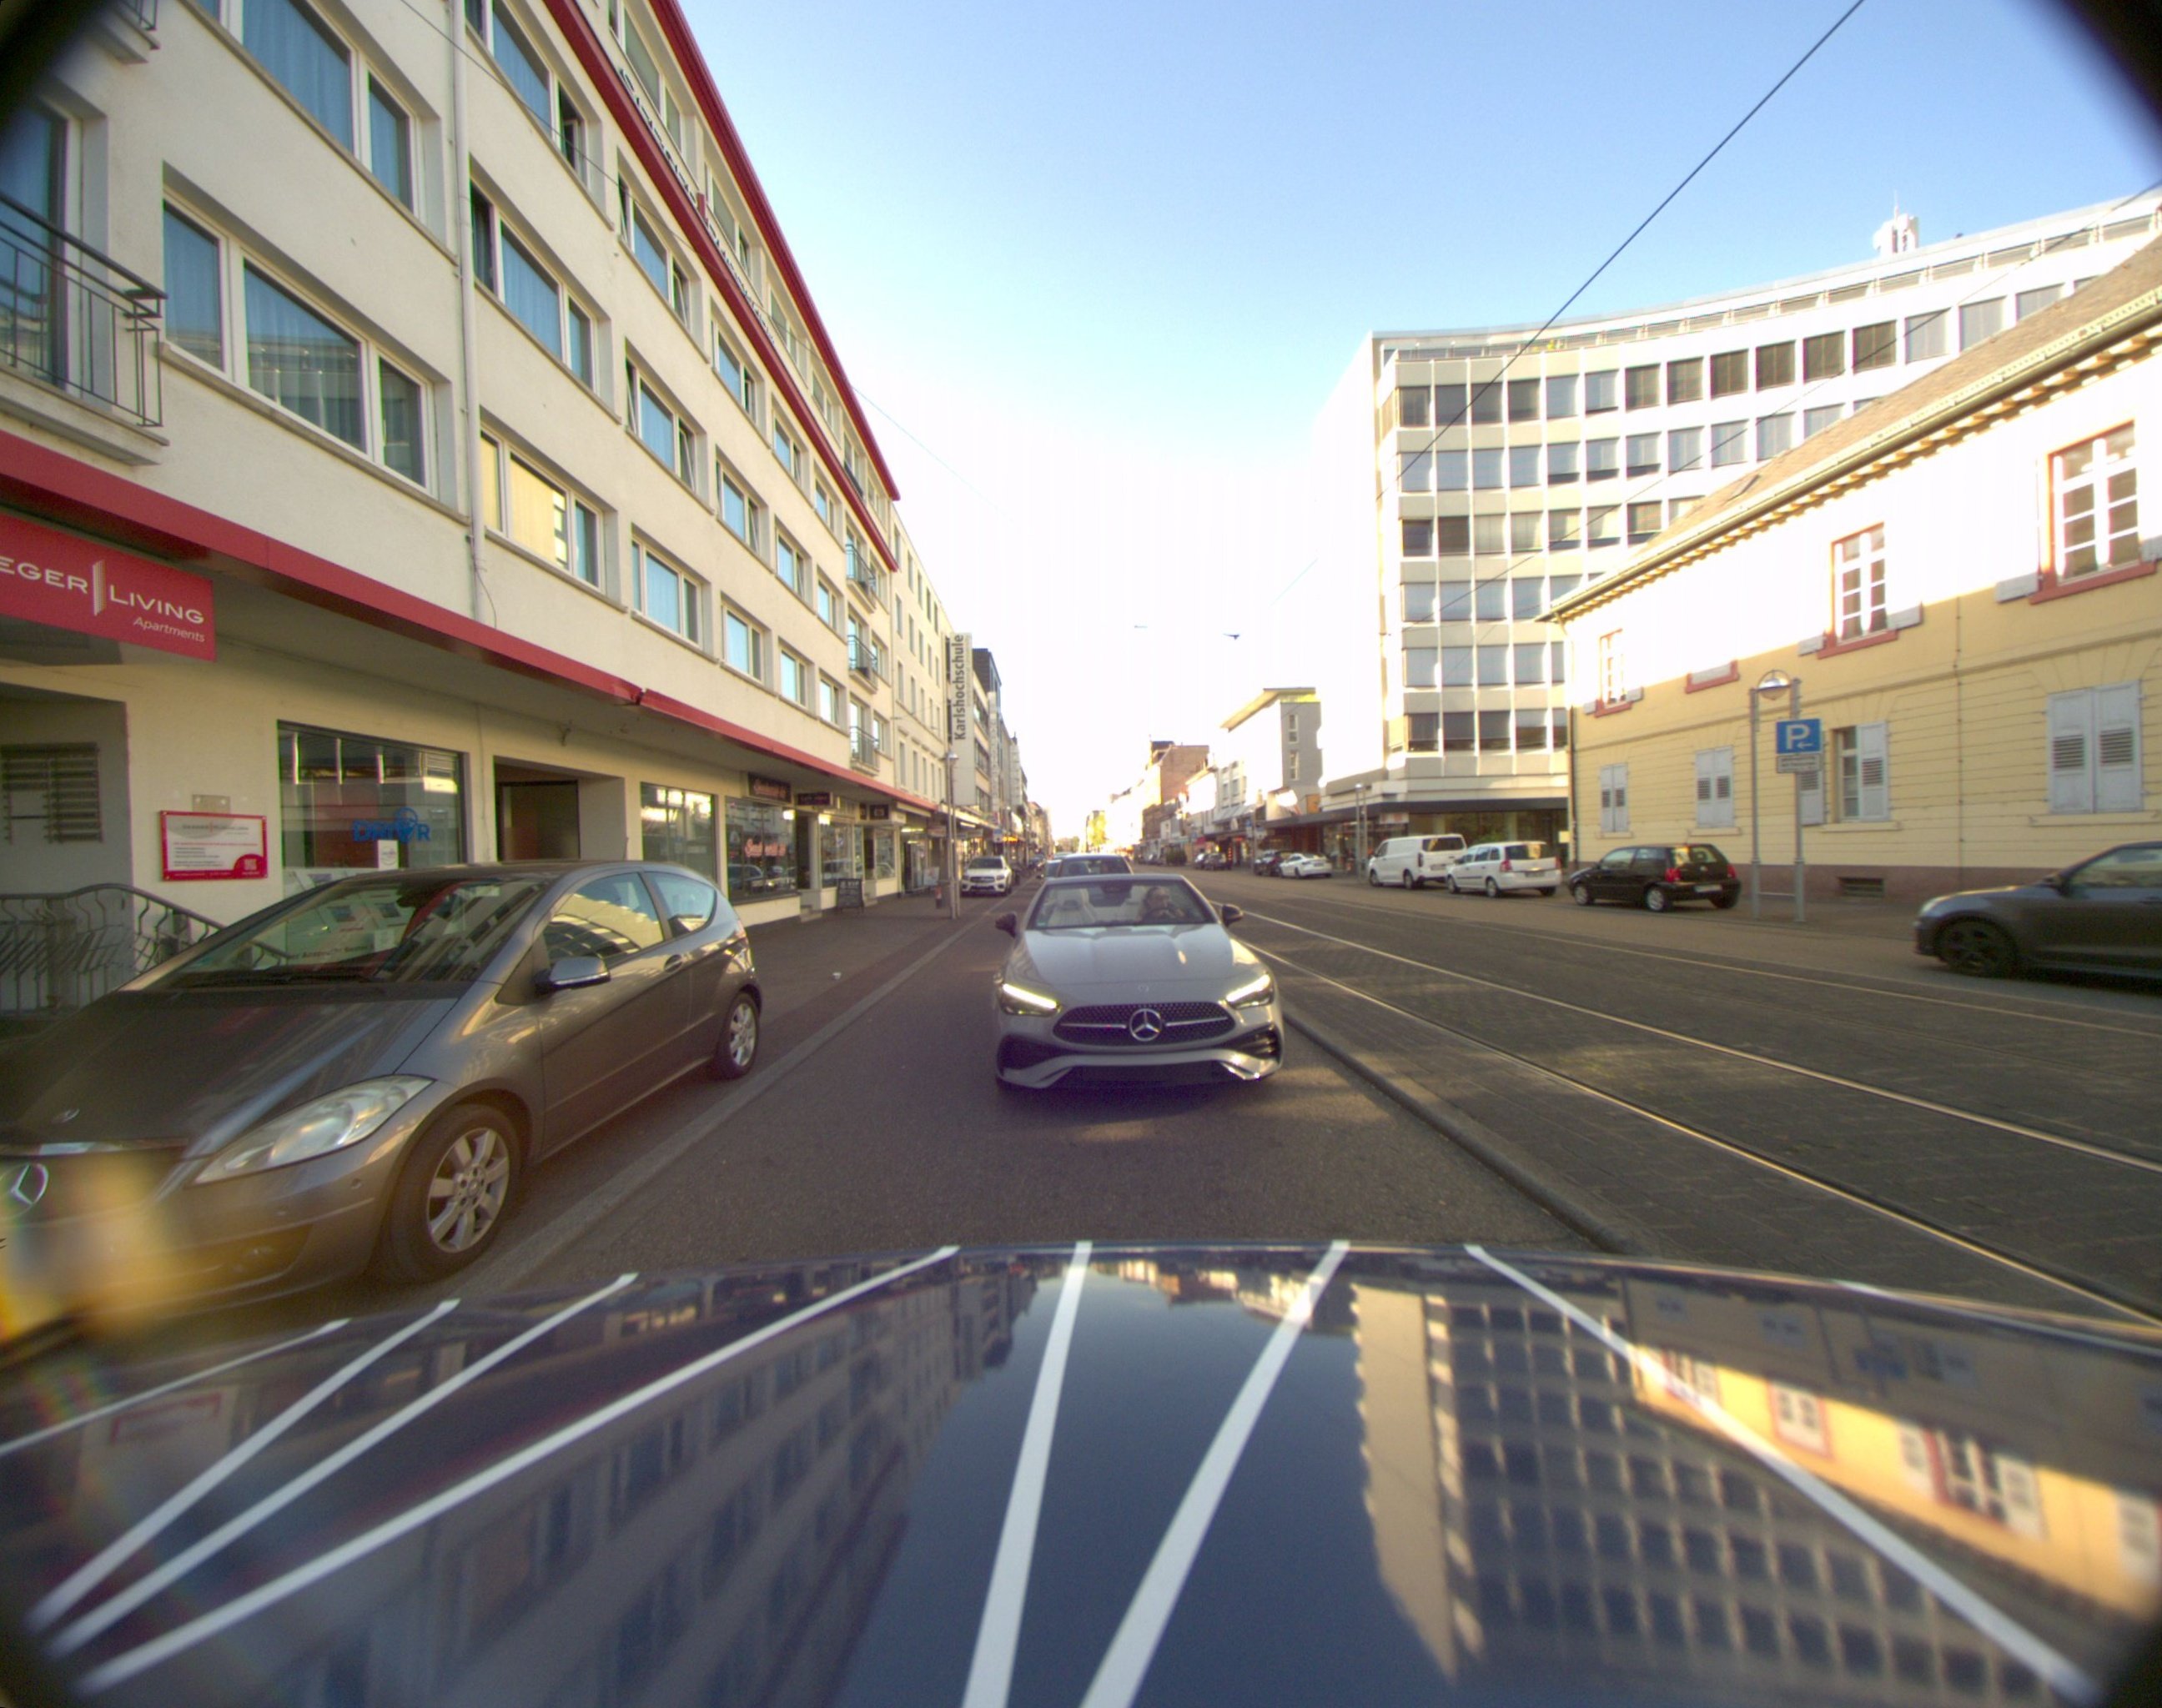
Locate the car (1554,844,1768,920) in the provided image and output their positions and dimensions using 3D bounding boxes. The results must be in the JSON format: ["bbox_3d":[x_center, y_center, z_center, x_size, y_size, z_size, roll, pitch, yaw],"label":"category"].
[{"bbox_3d":[12.931,0.536,17.296,1.781,1.431,3.960,-3,1,0],"label":"car"}]

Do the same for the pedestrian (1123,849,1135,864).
[{"bbox_3d":[5.912,0.352,93.151,1.007,1.811,1.035,-1,1,35],"label":"pedestrian"}]

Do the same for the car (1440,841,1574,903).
[{"bbox_3d":[12.808,0.482,23.164,1.781,1.611,4.175,-3,1,2],"label":"car"}]

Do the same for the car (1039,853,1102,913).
[{"bbox_3d":[-0.322,0.831,23.702,1.783,1.654,3.960,0,1,0],"label":"car"}]

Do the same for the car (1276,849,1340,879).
[{"bbox_3d":[12.495,0.504,42.103,1.931,1.444,4.291,-4,1,-5],"label":"car"}]

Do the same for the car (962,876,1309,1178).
[{"bbox_3d":[0.287,1.003,6.495,1.869,1.431,4.773,0,1,0],"label":"car"}]

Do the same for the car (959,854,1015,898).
[{"bbox_3d":[-3.808,0.842,31.418,1.783,1.654,4.162,0,1,0],"label":"car"}]

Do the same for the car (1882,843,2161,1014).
[{"bbox_3d":[10.315,0.644,6.938,1.782,1.500,3.858,-1,0,-5],"label":"car"}]

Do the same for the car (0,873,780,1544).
[{"bbox_3d":[-3.222,0.954,3.887,1.781,1.560,3.960,0,1,0],"label":"car"}]

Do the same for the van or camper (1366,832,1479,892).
[{"bbox_3d":[12.762,0.249,28.787,1.960,1.962,4.796,-3,1,-2],"label":"van or camper"}]

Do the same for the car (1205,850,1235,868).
[{"bbox_3d":[11.945,0.390,65.470,1.786,1.408,3.596,-2,1,-2],"label":"car"}]

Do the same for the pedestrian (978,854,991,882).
[{"bbox_3d":[-6.361,0.947,50.210,0.706,1.807,0.807,-2,1,-3],"label":"pedestrian"}]

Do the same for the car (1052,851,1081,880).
[{"bbox_3d":[-0.862,0.640,46.521,1.737,1.654,3.960,0,1,0],"label":"car"}]

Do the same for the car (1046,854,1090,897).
[{"bbox_3d":[-0.512,0.838,31.945,1.737,1.654,3.960,0,1,0],"label":"car"}]

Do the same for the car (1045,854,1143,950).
[{"bbox_3d":[0.224,0.854,15.463,1.737,1.654,3.960,0,1,0],"label":"car"}]

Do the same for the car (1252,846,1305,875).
[{"bbox_3d":[12.316,0.391,47.577,1.931,1.632,4.280,-4,1,-3],"label":"car"}]

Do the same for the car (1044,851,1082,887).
[{"bbox_3d":[-0.851,0.701,37.362,1.737,1.654,3.781,0,1,0],"label":"car"}]

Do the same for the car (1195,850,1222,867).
[{"bbox_3d":[11.857,0.398,71.001,1.786,1.511,3.832,-2,1,-1],"label":"car"}]
